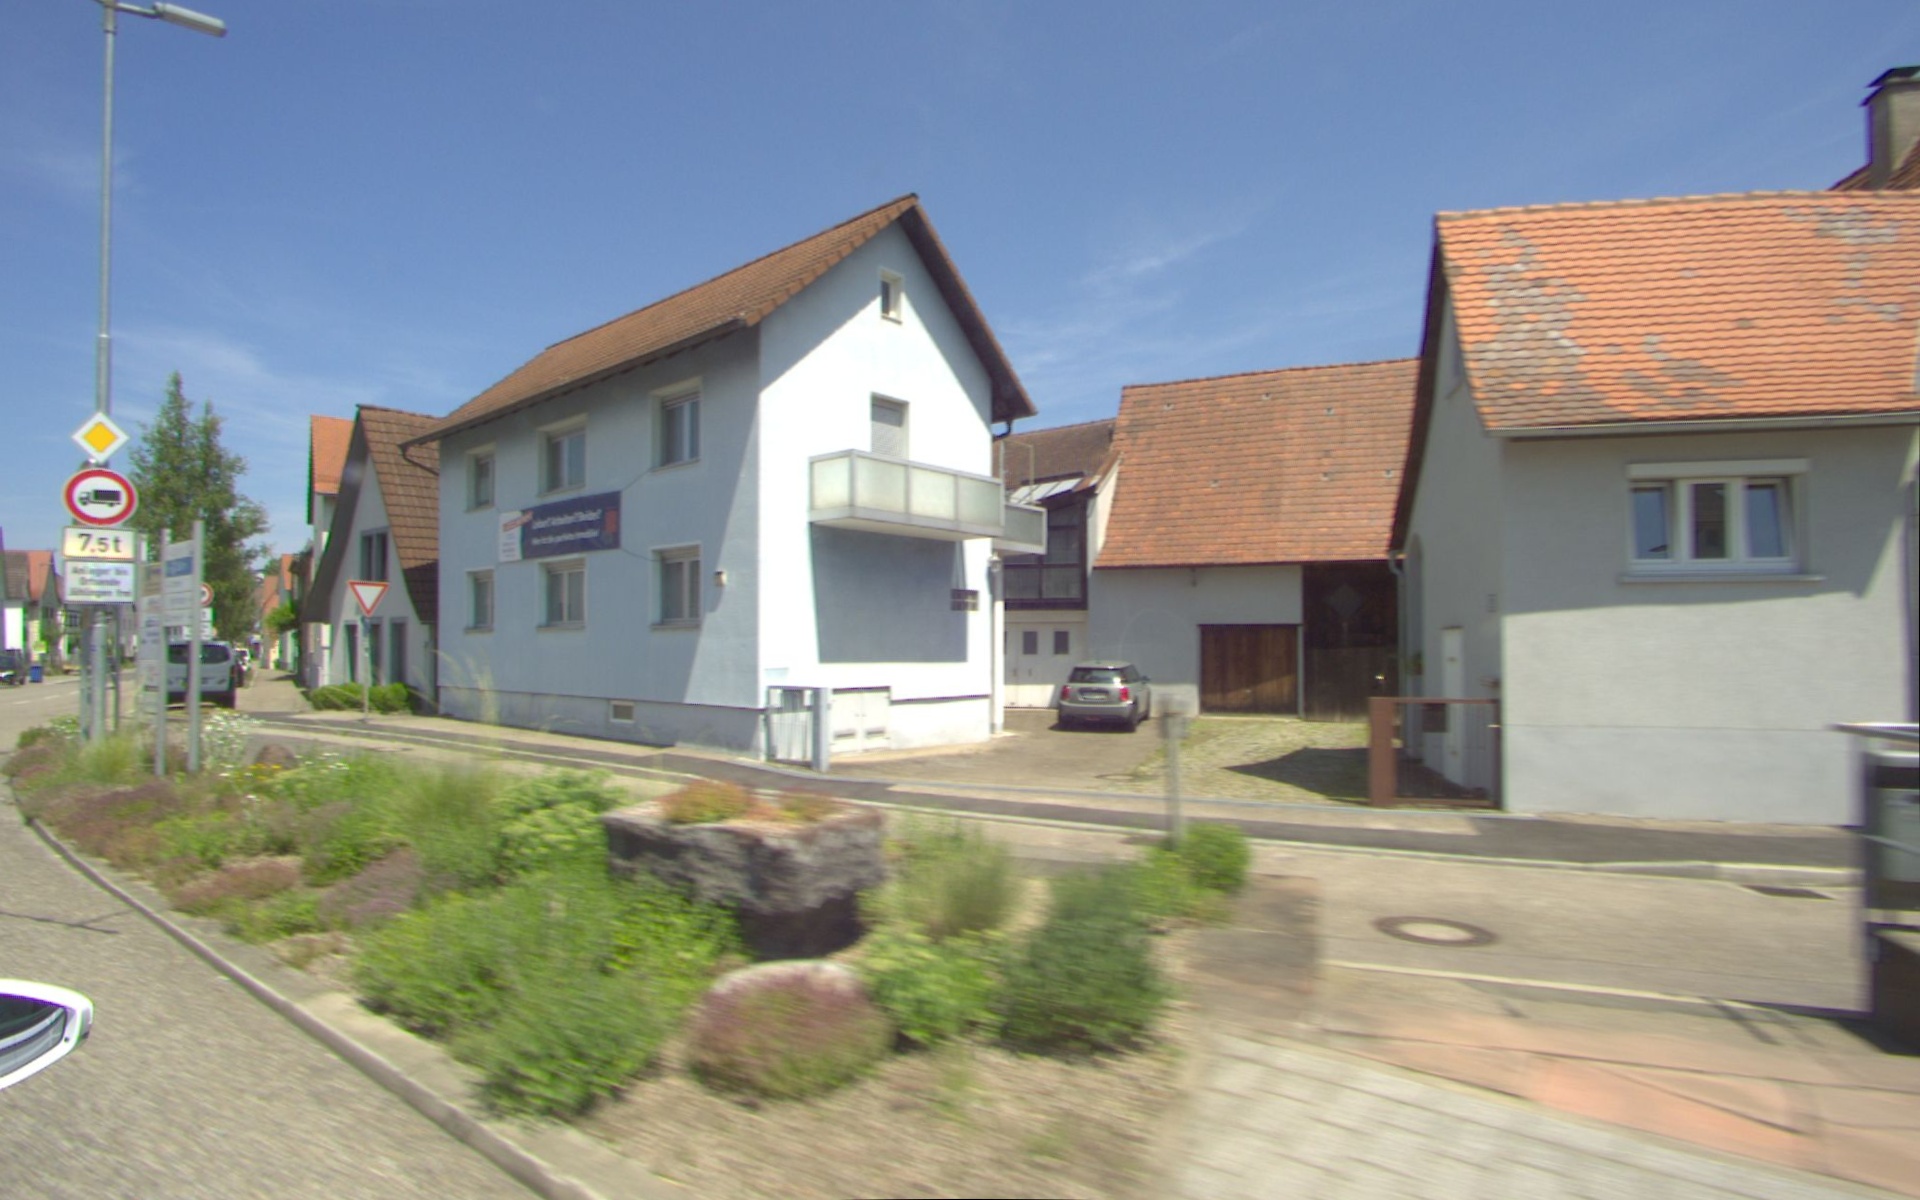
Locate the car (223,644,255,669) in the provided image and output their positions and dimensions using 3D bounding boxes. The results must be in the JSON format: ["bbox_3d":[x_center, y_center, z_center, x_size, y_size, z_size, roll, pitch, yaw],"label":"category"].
[{"bbox_3d":[-58.914,4.582,81.789,1.977,2.016,3.971,2,-3,-37],"label":"car"}]

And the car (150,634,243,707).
[{"bbox_3d":[-22.225,2.073,29.153,1.978,1.935,4.294,3,-5,-38],"label":"car"}]

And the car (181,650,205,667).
[{"bbox_3d":[-73.464,5.605,95.957,1.703,1.615,3.973,3,-4,-36],"label":"car"}]

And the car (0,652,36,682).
[{"bbox_3d":[-53.333,3.694,55.864,1.699,1.615,3.981,2,-3,-30],"label":"car"}]

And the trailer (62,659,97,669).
[{"bbox_3d":[-69.916,5.089,79.513,1.939,0.787,2.694,4,-5,-44],"label":"trailer"}]

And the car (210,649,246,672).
[{"bbox_3d":[-52.651,4.346,72.022,1.977,1.604,3.971,2,-4,-37],"label":"car"}]

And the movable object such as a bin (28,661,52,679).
[{"bbox_3d":[-55.779,4.240,60.742,0.911,1.062,0.937,3,-3,-35],"label":"movable object such as a bin"}]

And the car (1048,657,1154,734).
[{"bbox_3d":[3.255,2.066,22.583,1.782,1.471,3.731,0,-2,18],"label":"car"}]
